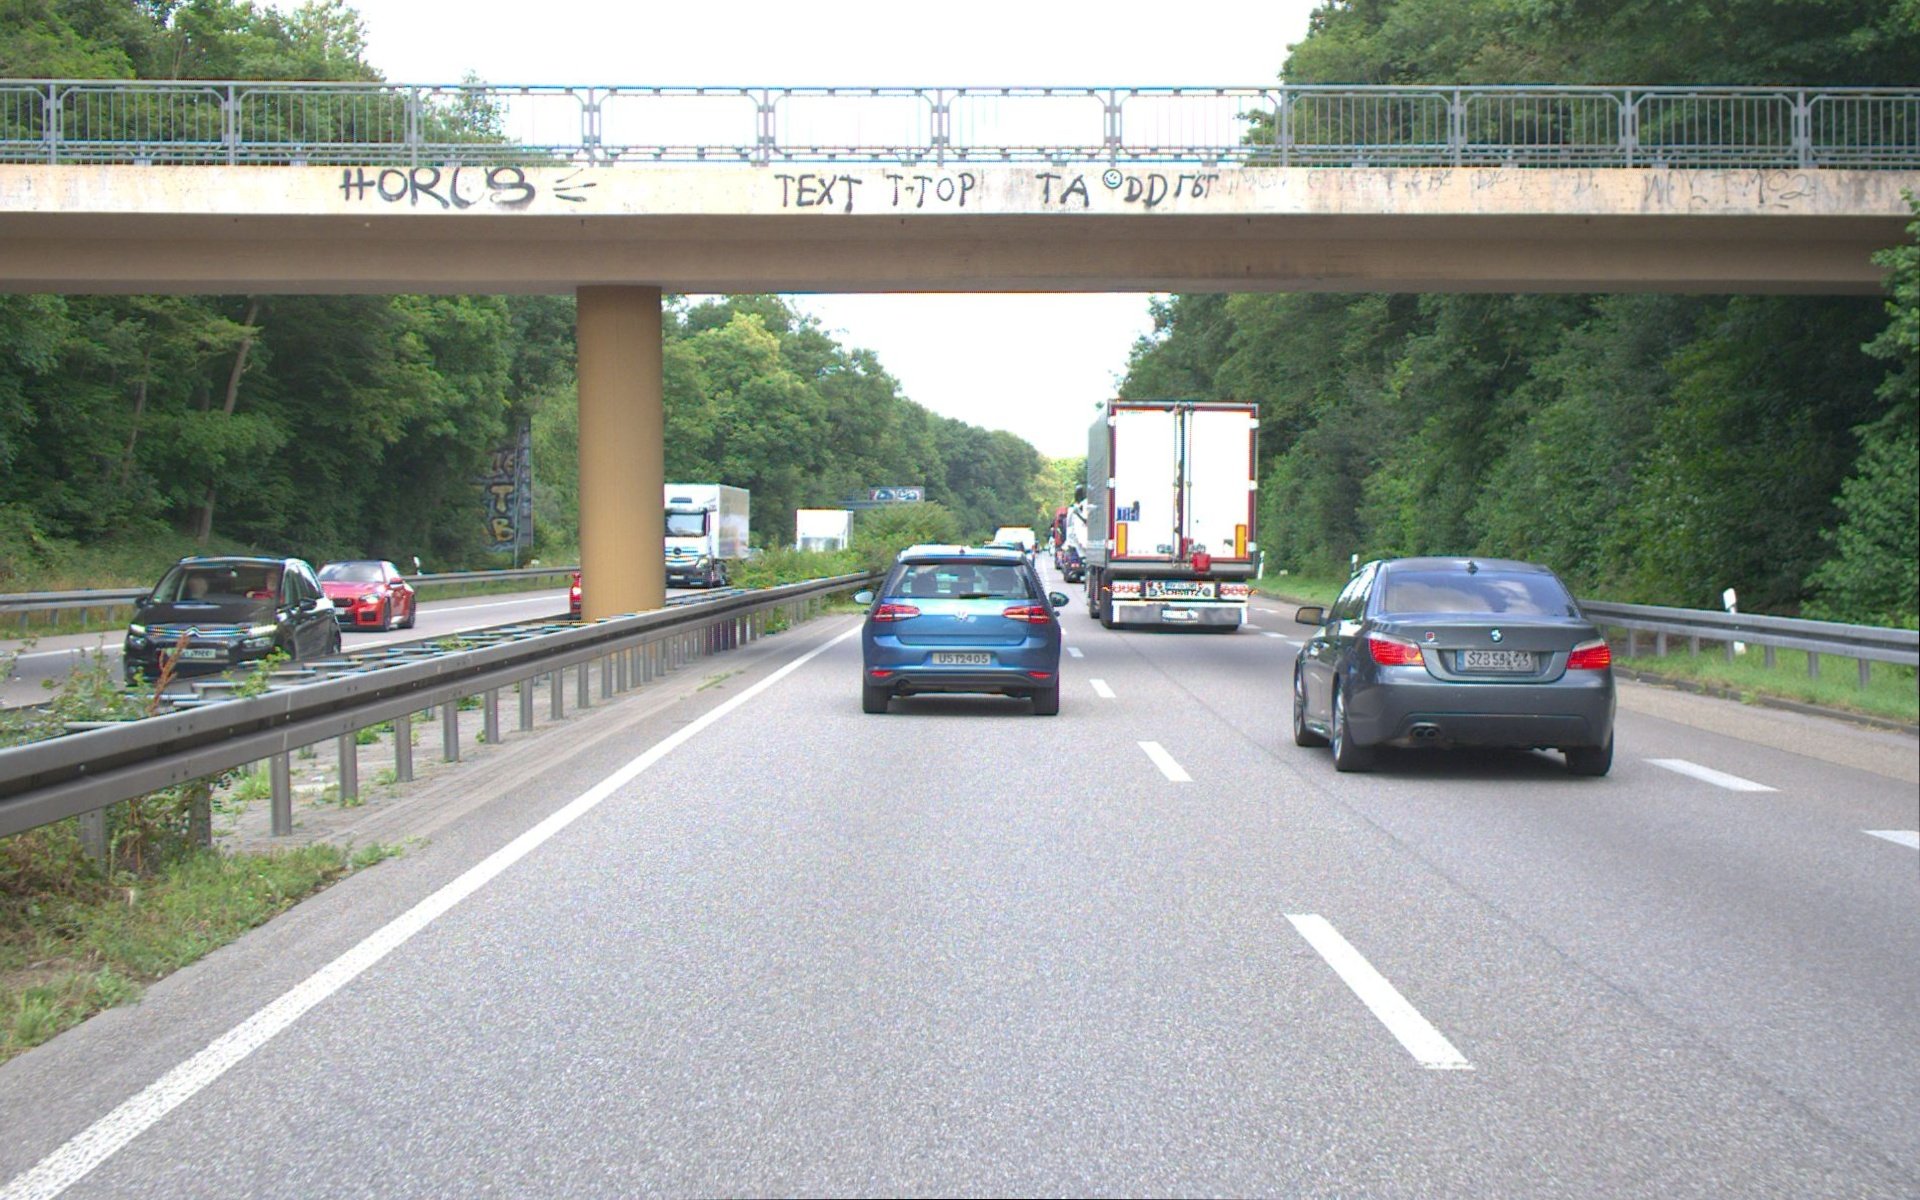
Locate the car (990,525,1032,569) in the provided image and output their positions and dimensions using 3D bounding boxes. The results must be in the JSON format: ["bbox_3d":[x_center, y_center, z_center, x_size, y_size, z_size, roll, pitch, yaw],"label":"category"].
[{"bbox_3d":[2.627,-2.725,177.525,1.993,2.247,4.442,0,1,-1],"label":"car"}]

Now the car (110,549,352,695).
[{"bbox_3d":[-8.395,0.207,39.979,1.865,1.583,4.565,0,1,0],"label":"car"}]

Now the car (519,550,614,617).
[{"bbox_3d":[-9.013,-0.405,78.981,1.685,1.471,4.437,0,1,0],"label":"car"}]

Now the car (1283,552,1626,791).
[{"bbox_3d":[3.368,0.419,24.273,1.774,1.470,4.880,1,1,1],"label":"car"}]

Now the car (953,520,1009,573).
[{"bbox_3d":[0.825,-2.051,132.477,1.954,2.007,4.000,0,1,3],"label":"car"}]

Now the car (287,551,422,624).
[{"bbox_3d":[-11.996,-0.282,68.358,1.864,1.374,4.806,0,1,0],"label":"car"}]

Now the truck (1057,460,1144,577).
[{"bbox_3d":[5.571,-3.140,137.449,3.232,4.371,12.969,1,0,2],"label":"truck"}]

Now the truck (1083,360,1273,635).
[{"bbox_3d":[3.922,-1.848,64.241,3.242,4.700,11.006,0,1,2],"label":"truck"}]

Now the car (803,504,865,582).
[{"bbox_3d":[-5.283,-2.411,145.092,2.288,3.221,7.286,0,1,1],"label":"car"}]

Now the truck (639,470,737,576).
[{"bbox_3d":[-10.434,-2.947,132.481,3.040,3.973,6.748,0,1,2],"label":"truck"}]

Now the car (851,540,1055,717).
[{"bbox_3d":[-0.028,0.215,31.353,1.705,1.465,4.000,1,1,1],"label":"car"}]

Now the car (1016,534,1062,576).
[{"bbox_3d":[3.598,-2.038,155.662,1.954,1.849,4.000,0,1,3],"label":"car"}]

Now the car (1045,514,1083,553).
[{"bbox_3d":[6.107,-3.913,202.600,1.993,2.320,4.442,0,1,-1],"label":"car"}]

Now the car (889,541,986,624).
[{"bbox_3d":[-0.394,-0.350,65.181,1.665,1.495,4.152,1,1,2],"label":"car"}]

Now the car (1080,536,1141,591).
[{"bbox_3d":[4.792,-1.172,109.997,1.888,1.723,4.000,0,1,2],"label":"car"}]
